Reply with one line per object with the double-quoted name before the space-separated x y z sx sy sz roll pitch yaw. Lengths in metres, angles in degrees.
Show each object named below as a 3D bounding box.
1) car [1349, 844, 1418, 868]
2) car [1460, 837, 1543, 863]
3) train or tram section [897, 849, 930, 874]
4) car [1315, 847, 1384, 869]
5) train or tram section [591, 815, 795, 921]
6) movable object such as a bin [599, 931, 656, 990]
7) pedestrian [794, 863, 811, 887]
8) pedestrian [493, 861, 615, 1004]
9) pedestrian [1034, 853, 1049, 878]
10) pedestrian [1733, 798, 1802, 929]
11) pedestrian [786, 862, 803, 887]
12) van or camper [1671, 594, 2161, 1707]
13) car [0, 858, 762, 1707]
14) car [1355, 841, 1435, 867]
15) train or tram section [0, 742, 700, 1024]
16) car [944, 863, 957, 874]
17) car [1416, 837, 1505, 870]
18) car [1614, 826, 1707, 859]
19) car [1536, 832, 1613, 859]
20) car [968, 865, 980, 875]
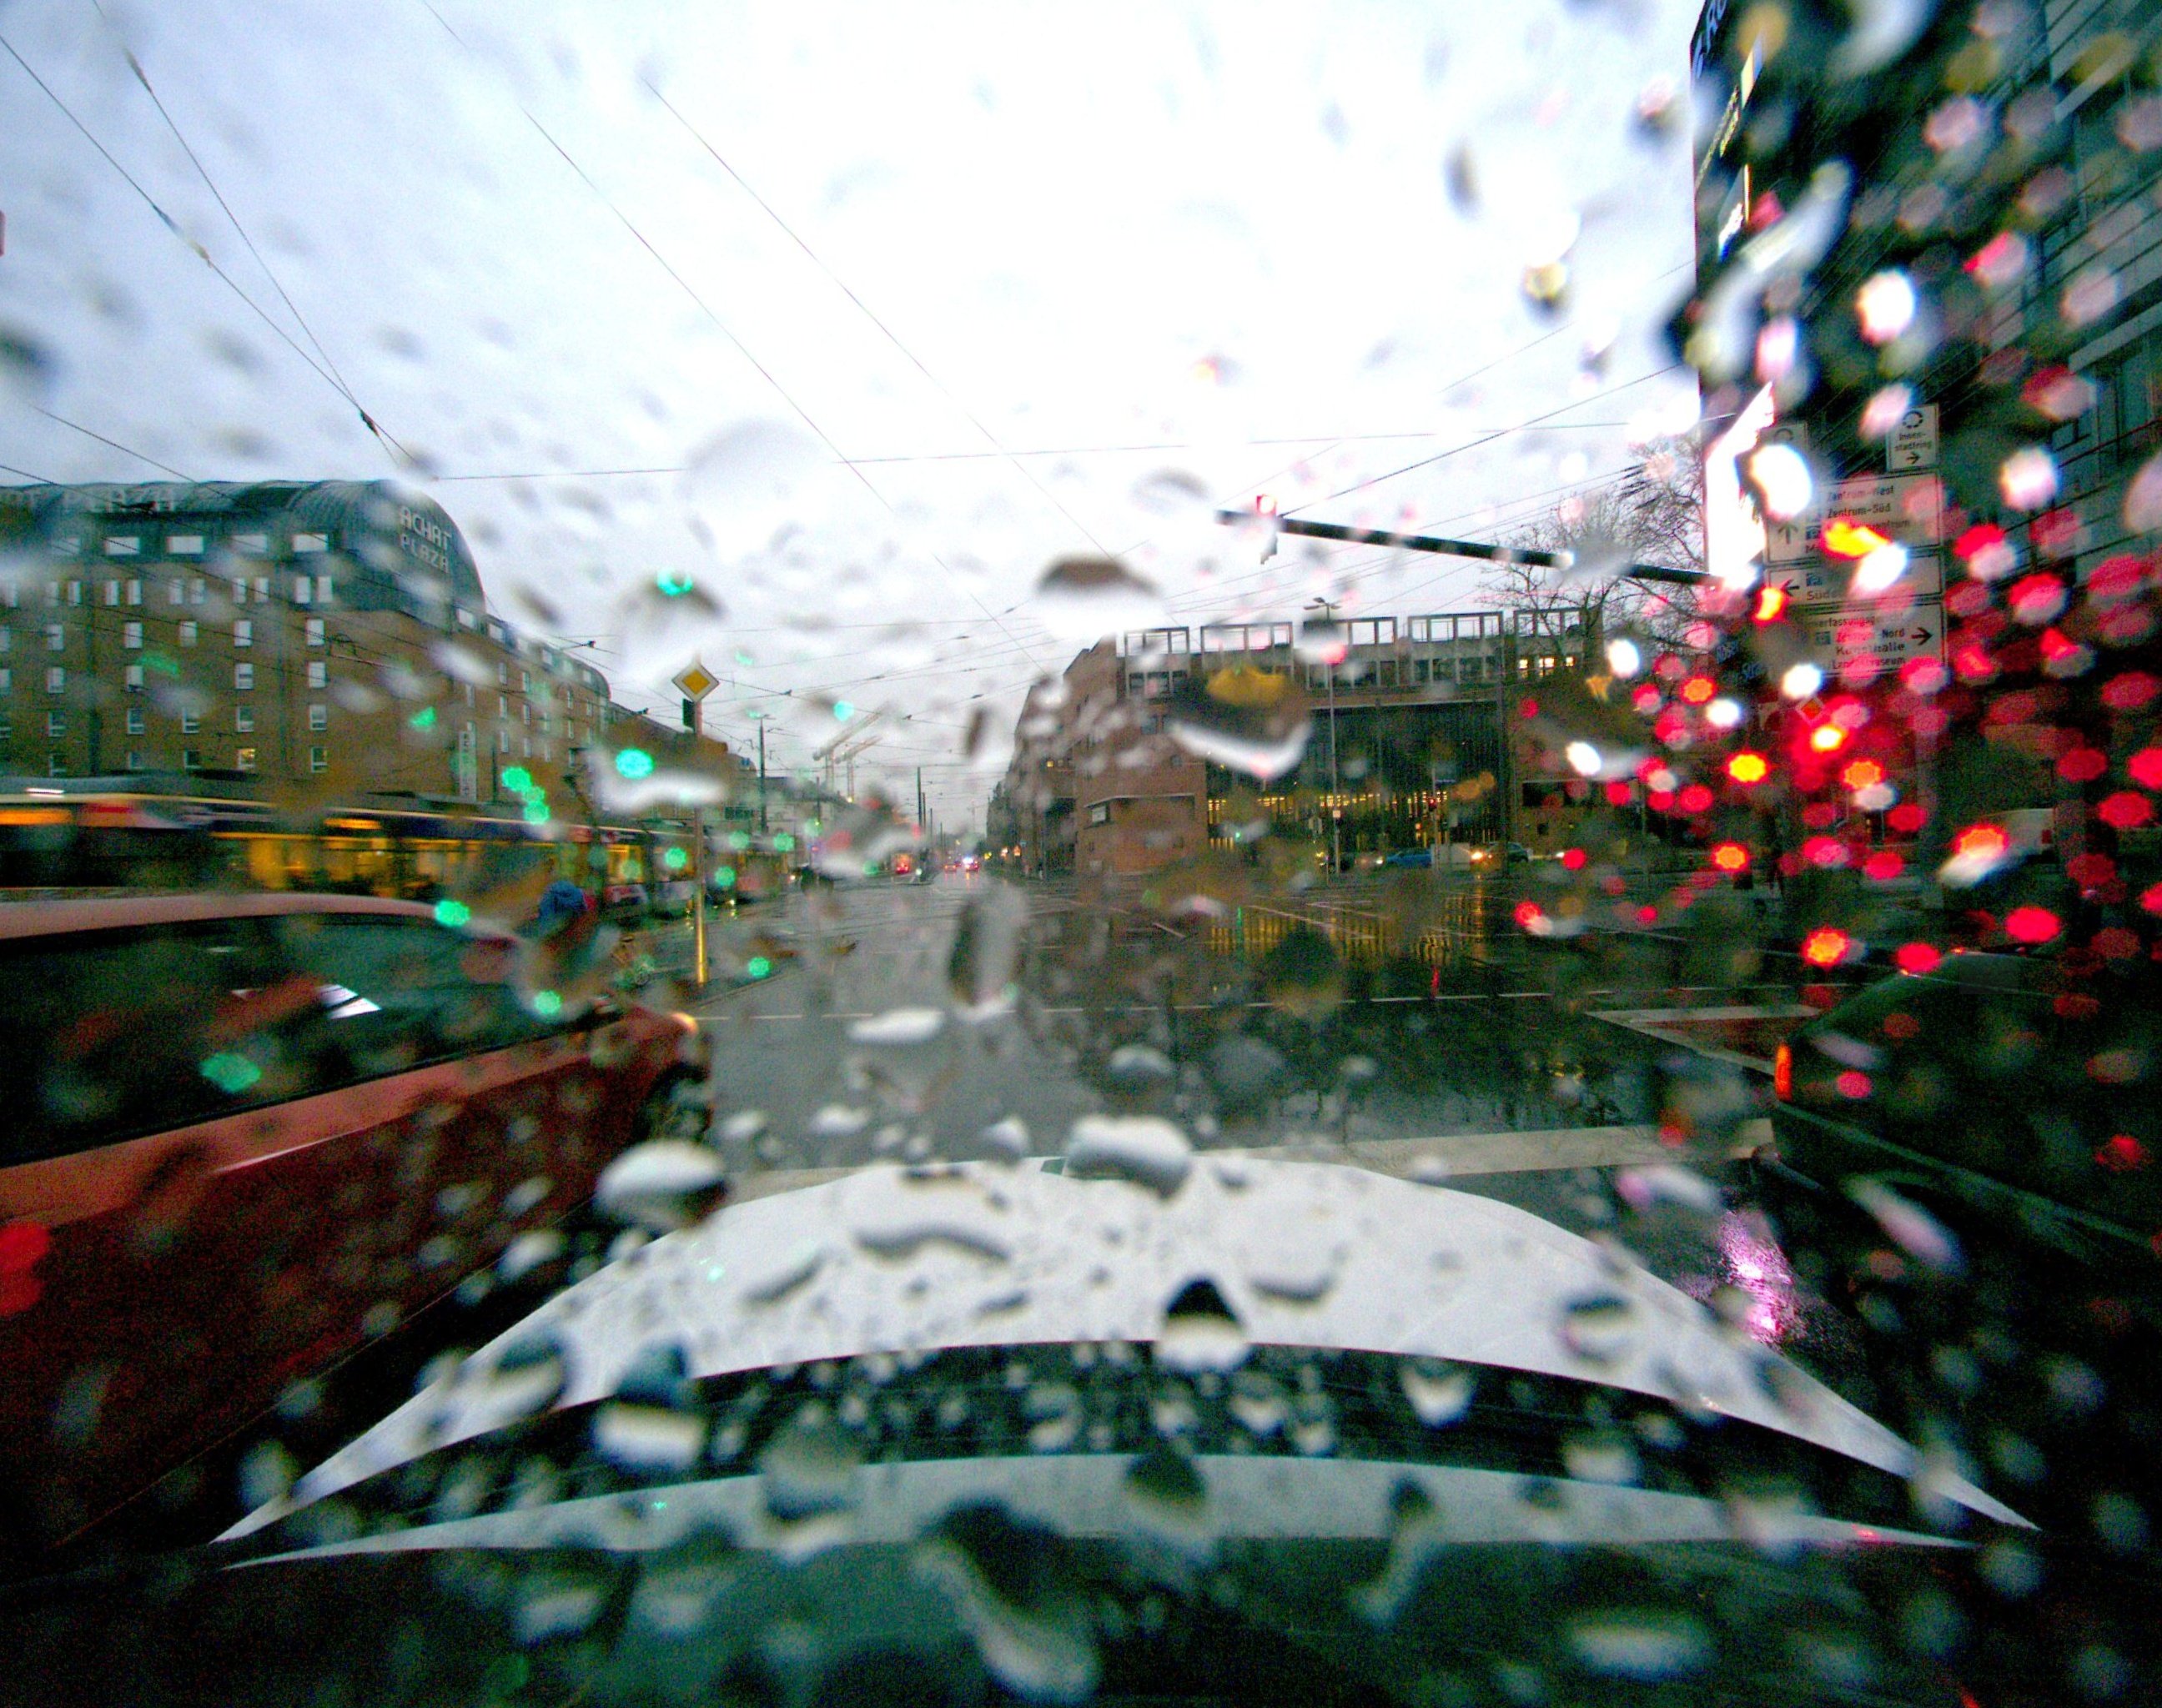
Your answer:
"car" 19.146 0.111 51.637 3.713 1.263 1.845 -2 4 -4
"car" 24.820 -0.264 48.120 3.979 1.288 1.845 -2 4 -4
"train or tram section" -26.000 1.176 127.738 3.189 3.436 27.753 -2 0 -8
"car" 18.247 0.281 55.487 3.977 1.310 1.998 -2 0 -2
"train or tram section" -16.992 0.562 38.229 2.863 3.614 19.159 -2 0 -8
"movable object such as a bin" -5.939 1.385 10.663 0.407 0.699 0.541 -5 -2 44
"pedestrian" -23.247 1.735 67.952 0.973 2.014 0.838 -1 -1 16
"pedestrian" -6.448 0.924 9.982 0.707 1.601 1.043 -5 -1 43
"pedestrian" -3.234 0.918 65.877 1.069 2.013 0.682 -2 0 -12
"pedestrian" 11.738 0.162 13.947 0.574 2.184 0.619 -1 -1 -4
"pedestrian" -23.527 1.715 66.803 0.973 2.014 0.838 -1 -1 16
"van or camper" 2.674 0.506 0.342 1.750 1.906 4.420 -1 0 2
"car" -2.635 0.779 2.458 1.691 1.459 3.759 -2 0 2
"car" 18.314 0.007 47.568 3.979 1.263 1.845 -2 4 -4
"train or tram section" -14.879 0.461 20.535 2.860 3.614 20.031 -2 0 -5
"car" -20.518 2.251 128.105 1.869 1.579 3.989 0 0 -8
"car" 20.434 -0.063 43.935 3.979 1.504 1.845 -2 4 -4
"car" 32.248 -0.662 45.371 3.979 1.600 1.845 -2 4 -4
"car" 32.160 -0.590 53.116 3.979 1.504 1.845 -2 4 -4
"car" -16.798 2.476 127.886 1.868 1.579 3.991 0 0 -6
